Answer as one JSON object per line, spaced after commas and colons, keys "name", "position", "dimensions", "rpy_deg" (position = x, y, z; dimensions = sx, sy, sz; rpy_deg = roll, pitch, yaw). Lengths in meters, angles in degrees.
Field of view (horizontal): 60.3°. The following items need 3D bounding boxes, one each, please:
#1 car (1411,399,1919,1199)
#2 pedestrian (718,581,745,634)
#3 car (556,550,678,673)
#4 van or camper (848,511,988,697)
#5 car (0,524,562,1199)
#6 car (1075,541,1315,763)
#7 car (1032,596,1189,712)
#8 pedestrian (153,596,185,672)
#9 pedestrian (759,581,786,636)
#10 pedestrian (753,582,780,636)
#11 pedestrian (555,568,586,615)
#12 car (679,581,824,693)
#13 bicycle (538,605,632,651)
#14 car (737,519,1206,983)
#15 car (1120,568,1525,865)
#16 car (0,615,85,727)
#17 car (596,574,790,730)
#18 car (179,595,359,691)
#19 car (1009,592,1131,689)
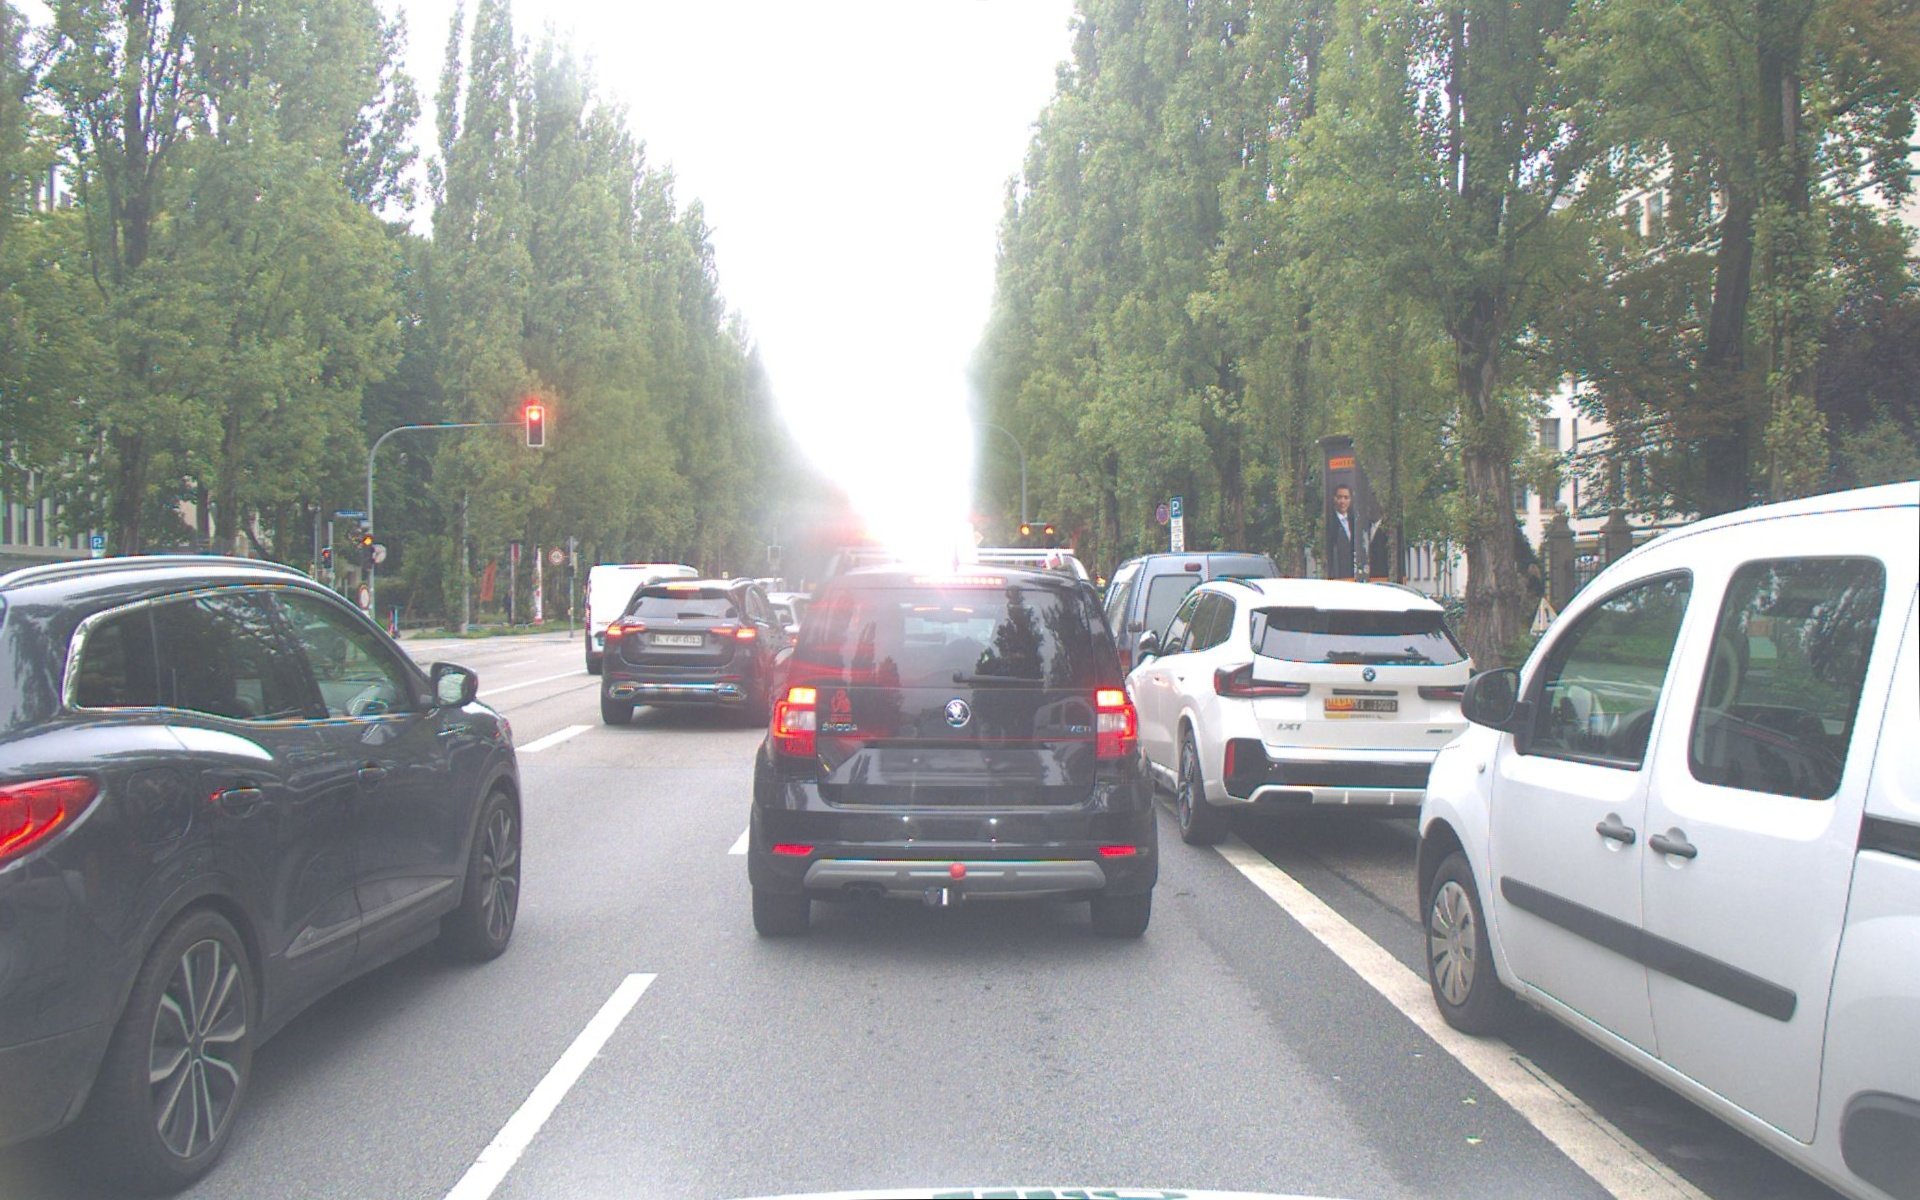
{"name": "car", "position": [2.699, 0.553, 4.192], "dimensions": [1.814, 1.914, 4.166], "rpy_deg": [-1, 1, -2]}
{"name": "pedestrian", "position": [-8.984, 0.288, 65.007], "dimensions": [0.867, 2.049, 1.013], "rpy_deg": [-1, 0, 1]}
{"name": "car", "position": [-6.434, 0.196, 31.362], "dimensions": [1.746, 2.148, 4.021], "rpy_deg": [-1, 0, -5]}
{"name": "van or camper", "position": [-0.700, 0.037, 25.227], "dimensions": [1.936, 2.593, 4.022], "rpy_deg": [-1, 0, -3]}
{"name": "car", "position": [-2.701, 0.633, 5.194], "dimensions": [1.797, 1.613, 4.186], "rpy_deg": [1, 0, 1]}
{"name": "car", "position": [2.216, 0.435, 16.591], "dimensions": [1.700, 1.928, 4.023], "rpy_deg": [-1, 1, -2]}
{"name": "car", "position": [1.978, 0.682, 22.660], "dimensions": [1.700, 1.411, 3.561], "rpy_deg": [-1, 1, -2]}
{"name": "pedestrian", "position": [-16.327, 0.695, 34.130], "dimensions": [0.455, 1.555, 0.395], "rpy_deg": [-1, 0, -1]}
{"name": "pedestrian", "position": [-7.002, 0.311, 61.845], "dimensions": [0.867, 2.049, 1.013], "rpy_deg": [-1, 0, 1]}
{"name": "pedestrian", "position": [-7.359, 0.337, 62.924], "dimensions": [0.867, 2.049, 1.013], "rpy_deg": [-1, 0, 1]}
{"name": "pedestrian", "position": [-15.010, -0.322, 63.772], "dimensions": [0.861, 1.795, 0.879], "rpy_deg": [-1, 0, 8]}
{"name": "car", "position": [-3.205, 0.512, 26.142], "dimensions": [1.954, 1.588, 3.998], "rpy_deg": [-1, 1, -3]}
{"name": "bicycle", "position": [-10.714, 0.788, 47.282], "dimensions": [2.481, 1.259, 0.813], "rpy_deg": [-1, 0, 8]}
{"name": "car", "position": [-0.004, 0.593, 8.554], "dimensions": [1.818, 1.801, 3.999], "rpy_deg": [1, 0, -2]}
{"name": "car", "position": [2.215, 0.619, 11.250], "dimensions": [1.706, 1.620, 4.210], "rpy_deg": [-1, 1, -2]}
{"name": "car", "position": [-13.139, 0.964, 21.411], "dimensions": [1.591, 1.413, 4.163], "rpy_deg": [-3, 0, -4]}
{"name": "car", "position": [-3.047, 0.535, 19.612], "dimensions": [1.745, 1.648, 4.023], "rpy_deg": [1, 1, -2]}
{"name": "car", "position": [-13.595, 0.783, 32.853], "dimensions": [1.813, 1.683, 4.692], "rpy_deg": [-3, 0, -4]}
{"name": "car", "position": [1.798, 0.630, 27.957], "dimensions": [1.700, 1.501, 3.561], "rpy_deg": [-1, 1, -2]}
